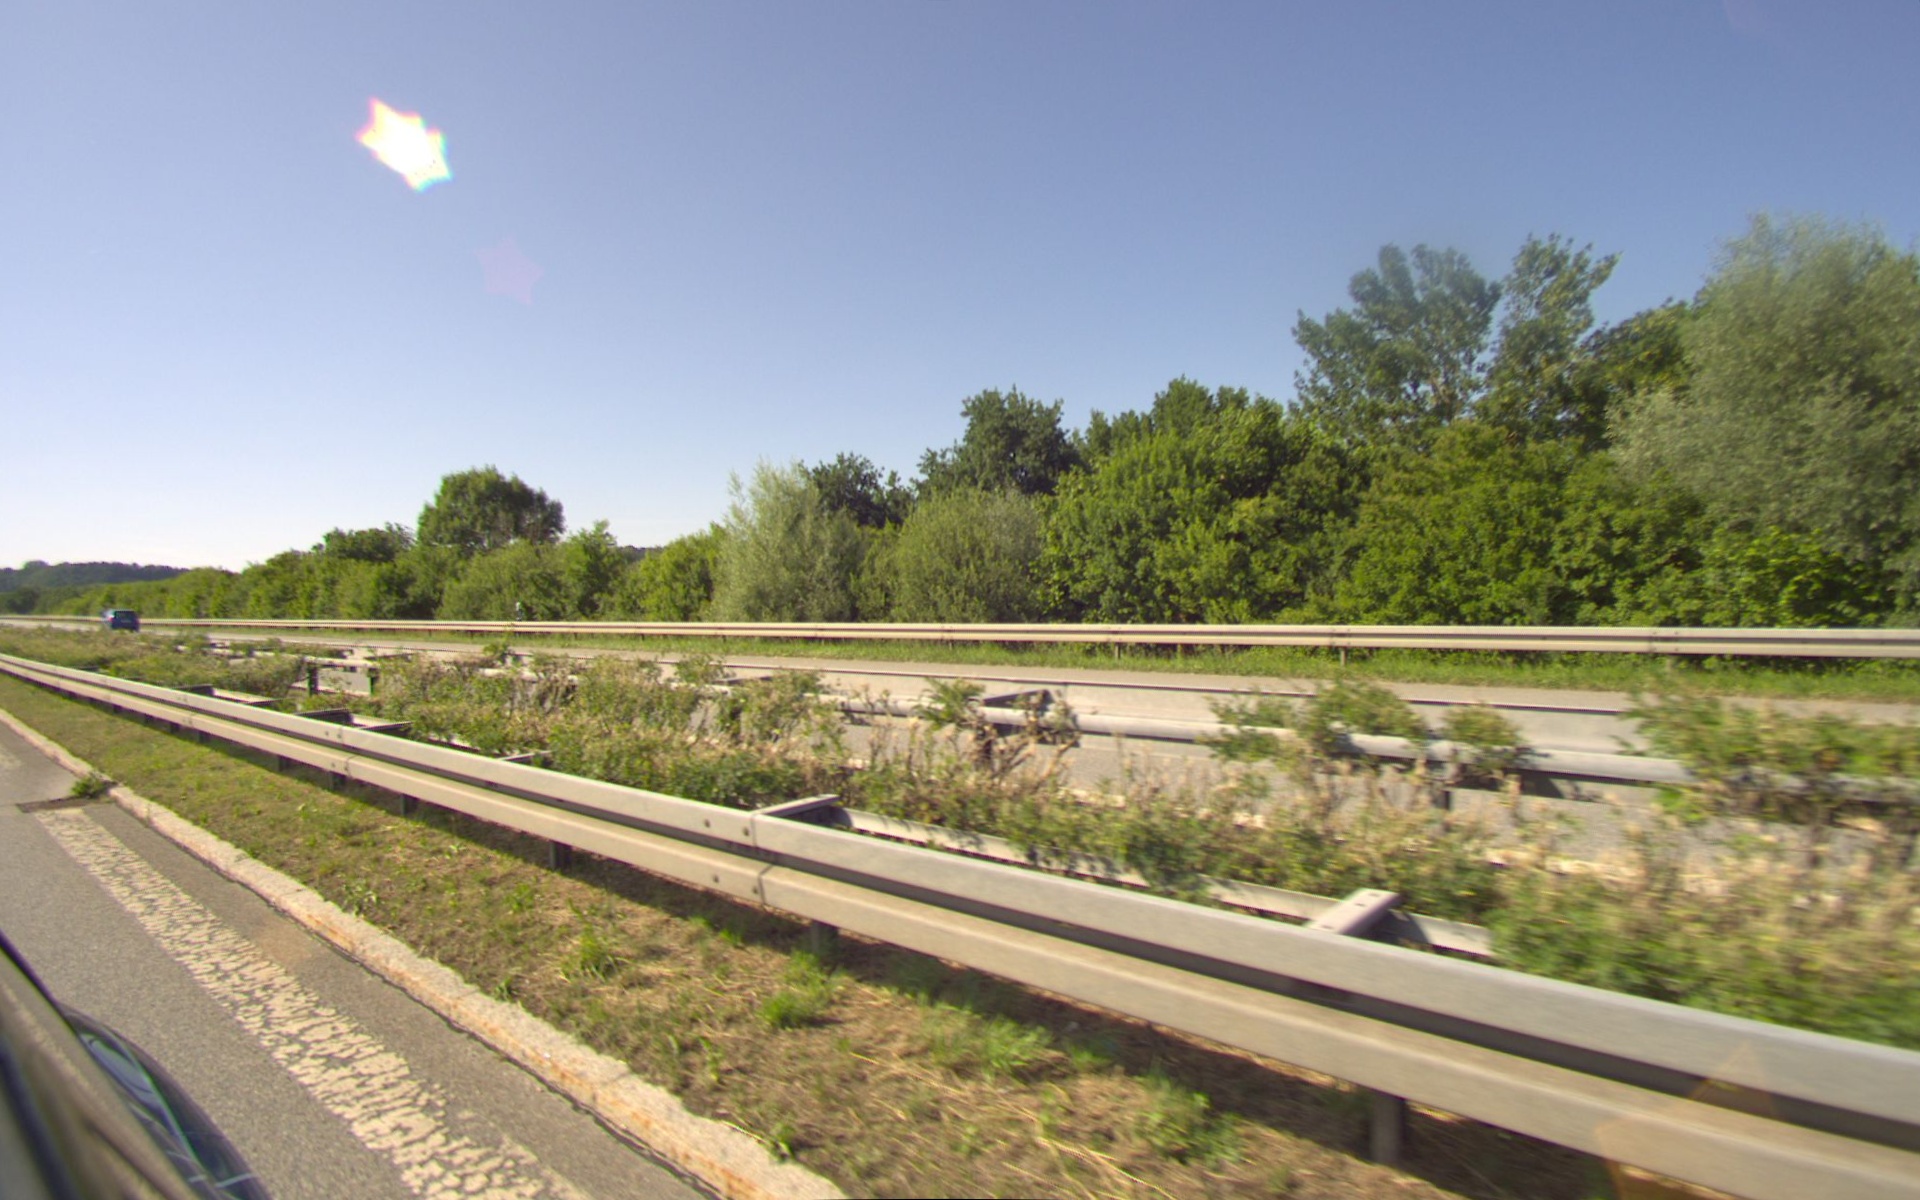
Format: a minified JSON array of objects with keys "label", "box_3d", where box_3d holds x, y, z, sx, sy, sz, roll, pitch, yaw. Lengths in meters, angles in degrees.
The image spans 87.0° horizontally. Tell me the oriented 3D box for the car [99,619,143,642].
[{"label":"car","box_3d":[-54.939,1.996,66.216,3.999,1.452,1.658,-2,-1,42]}]
